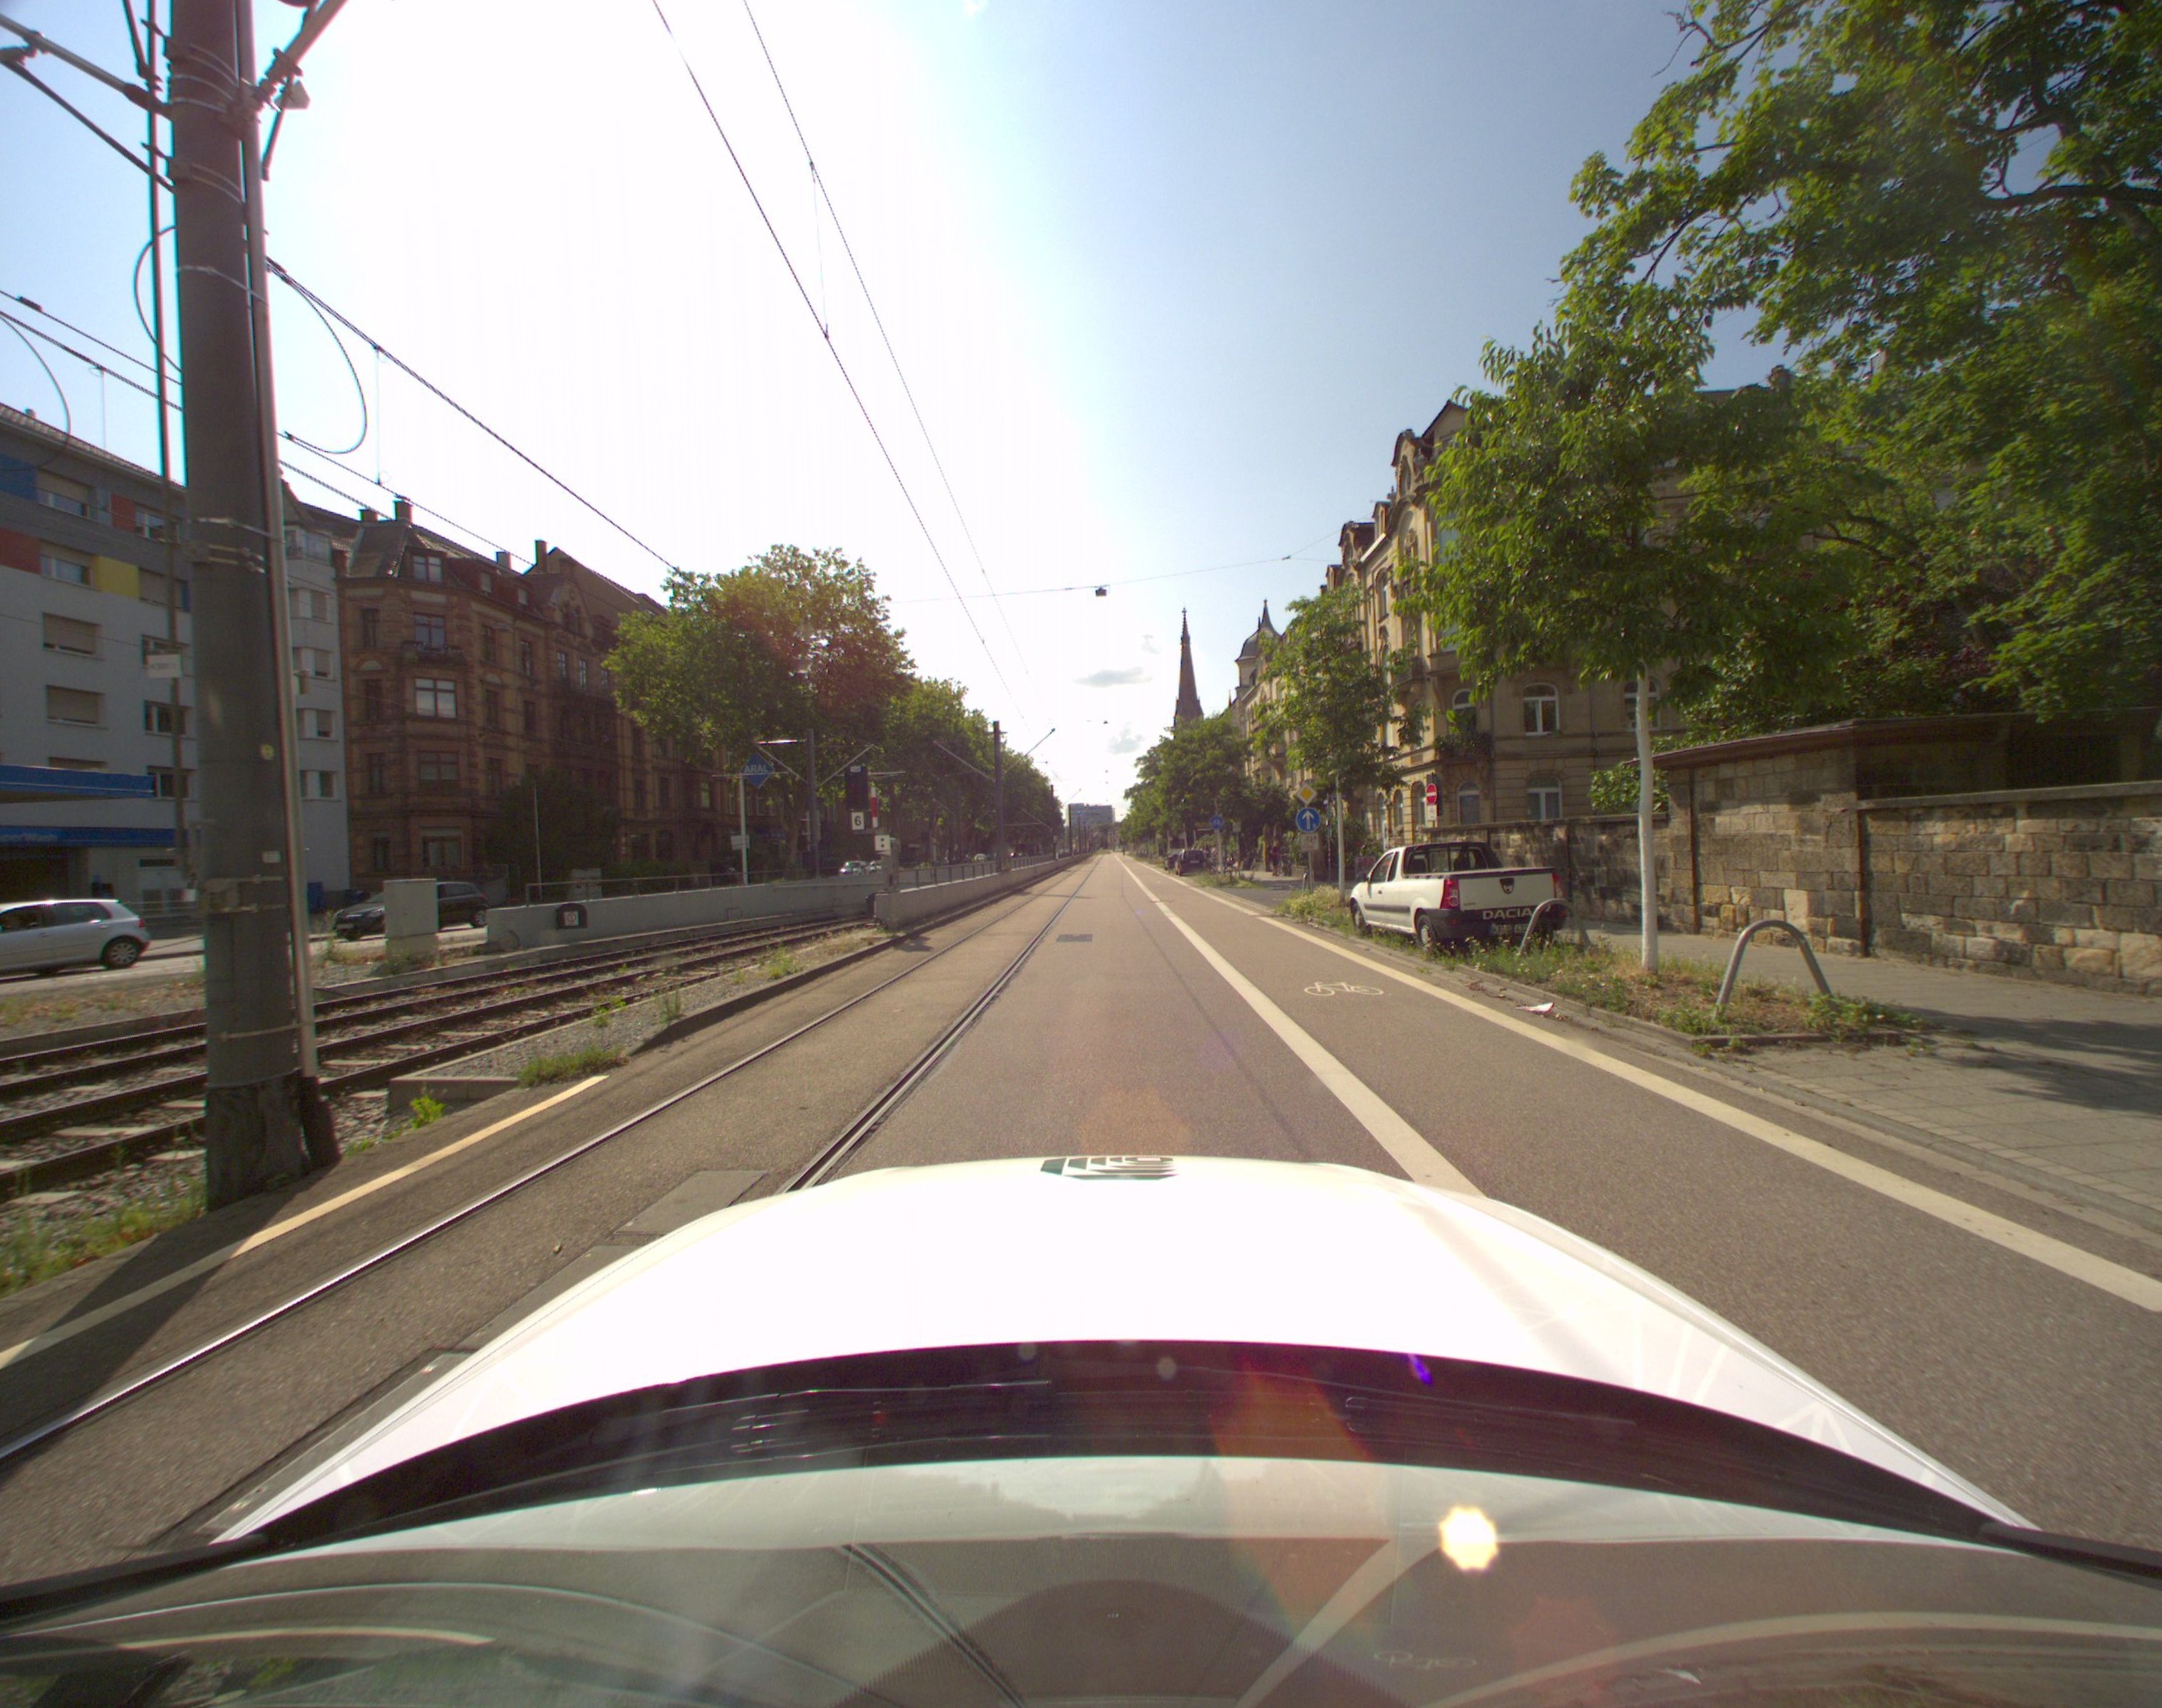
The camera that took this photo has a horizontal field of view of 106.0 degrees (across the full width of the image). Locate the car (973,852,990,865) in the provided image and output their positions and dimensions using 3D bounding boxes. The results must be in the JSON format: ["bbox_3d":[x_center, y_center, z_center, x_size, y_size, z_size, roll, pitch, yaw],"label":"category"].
[{"bbox_3d":[-15.599,0.667,127.611,1.832,1.727,4.002,-5,0,2],"label":"car"}]

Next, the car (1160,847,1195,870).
[{"bbox_3d":[6.902,0.297,58.466,1.793,1.526,4.486,-4,0,-2],"label":"car"}]

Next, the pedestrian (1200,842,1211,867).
[{"bbox_3d":[9.260,0.039,60.508,0.667,1.804,0.319,-5,0,0],"label":"pedestrian"}]

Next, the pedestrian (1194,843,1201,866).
[{"bbox_3d":[8.658,0.027,60.428,0.316,1.706,0.462,-5,0,16],"label":"pedestrian"}]

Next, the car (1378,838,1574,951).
[{"bbox_3d":[5.674,0.478,12.196,1.658,1.416,3.855,0,1,10],"label":"car"}]

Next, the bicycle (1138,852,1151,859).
[{"bbox_3d":[9.503,0.256,122.154,1.811,0.902,0.603,-5,0,-2],"label":"bicycle"}]

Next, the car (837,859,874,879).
[{"bbox_3d":[-17.274,1.117,62.521,1.490,1.303,3.495,-5,0,4],"label":"car"}]

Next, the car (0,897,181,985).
[{"bbox_3d":[-20.463,1.705,15.414,1.714,1.416,4.409,-3,1,3],"label":"car"}]

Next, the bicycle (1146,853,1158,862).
[{"bbox_3d":[8.659,0.379,99.406,0.652,1.038,1.810,-5,1,-19],"label":"bicycle"}]

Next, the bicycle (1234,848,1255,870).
[{"bbox_3d":[9.935,0.293,49.624,0.655,1.248,2.944,-5,0,2],"label":"bicycle"}]

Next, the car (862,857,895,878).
[{"bbox_3d":[-17.063,1.119,68.810,1.637,1.482,4.003,-5,0,1],"label":"car"}]

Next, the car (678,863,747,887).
[{"bbox_3d":[-26.256,1.487,58.116,3.969,1.483,2.002,-2,0,4],"label":"car"}]

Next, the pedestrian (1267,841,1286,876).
[{"bbox_3d":[9.340,0.195,38.884,0.720,1.629,0.725,-2,0,2],"label":"pedestrian"}]

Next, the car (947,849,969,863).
[{"bbox_3d":[-16.483,0.296,109.429,1.985,1.636,4.005,-5,0,4],"label":"car"}]

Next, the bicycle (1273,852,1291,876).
[{"bbox_3d":[9.565,0.460,38.787,0.468,1.108,1.712,-2,0,2],"label":"bicycle"}]

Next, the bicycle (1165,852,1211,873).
[{"bbox_3d":[7.193,0.563,54.939,2.948,1.246,0.790,-2,0,-11],"label":"bicycle"}]

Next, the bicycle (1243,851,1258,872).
[{"bbox_3d":[9.737,0.393,46.771,0.426,1.139,2.024,-5,0,2],"label":"bicycle"}]

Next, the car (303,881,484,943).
[{"bbox_3d":[-19.504,1.599,23.344,1.659,1.416,3.790,-2,1,7],"label":"car"}]

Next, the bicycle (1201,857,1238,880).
[{"bbox_3d":[6.682,0.689,39.354,1.702,1.069,0.470,-2,0,-4],"label":"bicycle"}]

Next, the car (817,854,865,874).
[{"bbox_3d":[-25.071,1.026,85.232,4.387,1.918,2.000,-2,0,0],"label":"car"}]

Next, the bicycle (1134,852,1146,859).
[{"bbox_3d":[9.632,0.264,133.426,1.811,0.902,0.603,-5,0,-2],"label":"bicycle"}]

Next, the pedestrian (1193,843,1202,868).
[{"bbox_3d":[8.692,0.088,60.905,0.457,1.804,0.319,-5,0,0],"label":"pedestrian"}]

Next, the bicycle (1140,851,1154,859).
[{"bbox_3d":[9.494,0.160,117.215,1.811,0.902,0.651,-5,0,-2],"label":"bicycle"}]

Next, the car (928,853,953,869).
[{"bbox_3d":[-16.293,0.808,94.782,1.708,1.691,3.739,-4,1,8],"label":"car"}]

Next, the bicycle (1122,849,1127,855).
[{"bbox_3d":[8.762,-0.401,164.278,0.796,1.236,2.779,-2,0,3],"label":"bicycle"}]

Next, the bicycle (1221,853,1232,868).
[{"bbox_3d":[10.113,0.435,56.757,0.426,0.940,1.808,-5,0,2],"label":"bicycle"}]

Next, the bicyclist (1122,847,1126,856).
[{"bbox_3d":[8.756,-0.439,164.193,0.767,1.730,1.027,-2,0,2],"label":"bicyclist"}]

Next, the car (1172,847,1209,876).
[{"bbox_3d":[6.435,0.397,48.452,1.679,1.502,4.711,-4,0,3],"label":"car"}]

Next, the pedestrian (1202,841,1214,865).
[{"bbox_3d":[9.140,-0.057,58.802,0.530,1.676,0.571,-5,0,-17],"label":"pedestrian"}]

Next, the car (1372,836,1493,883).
[{"bbox_3d":[12.939,0.206,30.188,3.724,1.555,1.759,-2,0,5],"label":"car"}]
